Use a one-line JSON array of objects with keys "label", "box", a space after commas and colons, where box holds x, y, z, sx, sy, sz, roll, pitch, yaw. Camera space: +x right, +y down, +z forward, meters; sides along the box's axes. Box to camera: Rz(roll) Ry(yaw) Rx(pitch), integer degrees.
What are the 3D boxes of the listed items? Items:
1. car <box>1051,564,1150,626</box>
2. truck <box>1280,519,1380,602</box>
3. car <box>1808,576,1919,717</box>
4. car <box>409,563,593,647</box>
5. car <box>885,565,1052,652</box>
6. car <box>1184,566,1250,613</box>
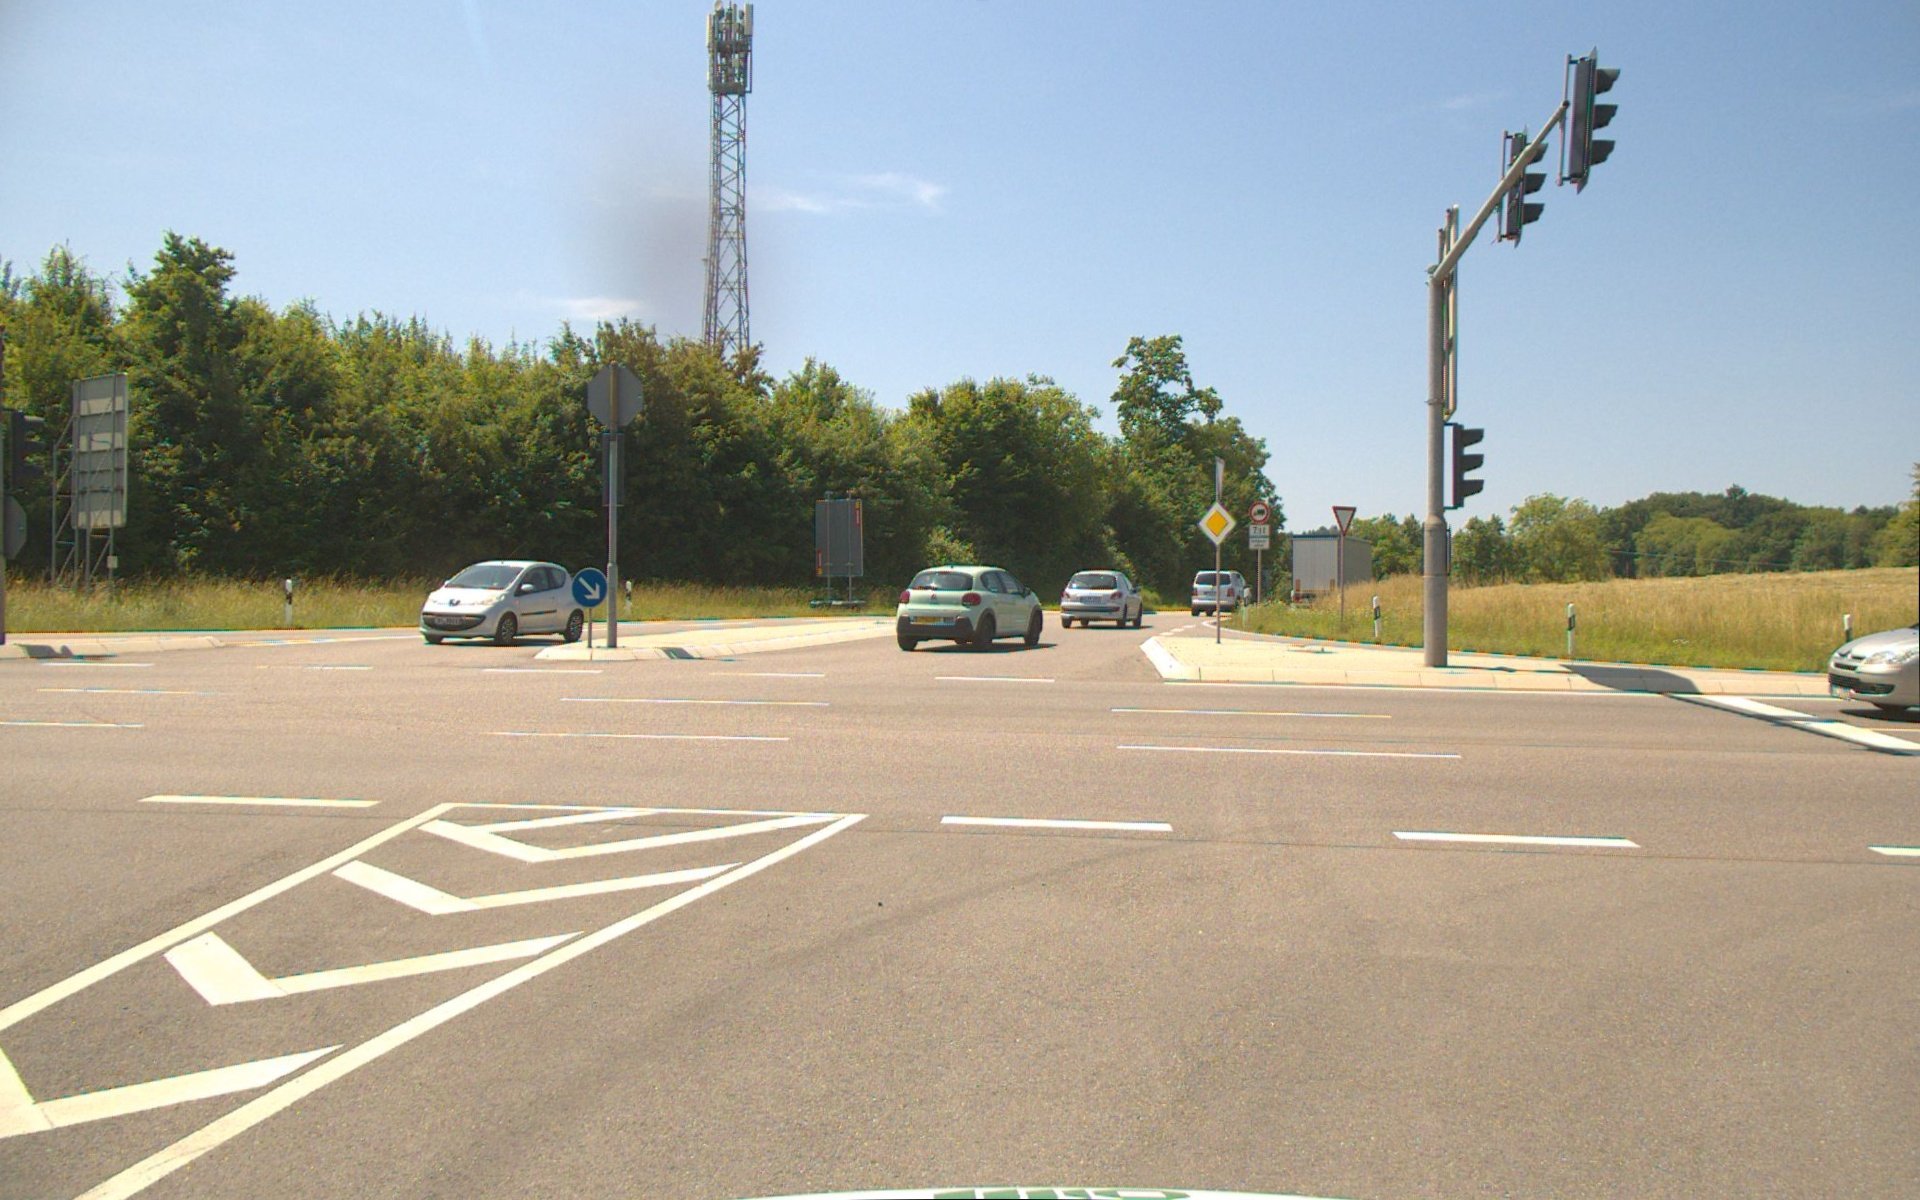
[{"label": "car", "box": [3.641, -0.162, 42.333, 1.774, 1.437, 3.786, 1, 2, 17]}, {"label": "truck", "box": [21.107, -2.116, 93.369, 3.061, 4.245, 16.688, 1, 1, 21]}, {"label": "car", "box": [12.192, 0.538, 18.907, 4.068, 1.495, 1.731, 1, 2, 6]}, {"label": "car", "box": [-8.203, 0.038, 29.844, 1.532, 1.394, 3.533, 1, 2, 17]}, {"label": "car", "box": [0.232, 0.105, 30.487, 1.694, 1.428, 3.987, 2, 2, 22]}, {"label": "car", "box": [9.648, -0.411, 61.843, 1.775, 1.653, 4.062, 0, 2, 19]}]
